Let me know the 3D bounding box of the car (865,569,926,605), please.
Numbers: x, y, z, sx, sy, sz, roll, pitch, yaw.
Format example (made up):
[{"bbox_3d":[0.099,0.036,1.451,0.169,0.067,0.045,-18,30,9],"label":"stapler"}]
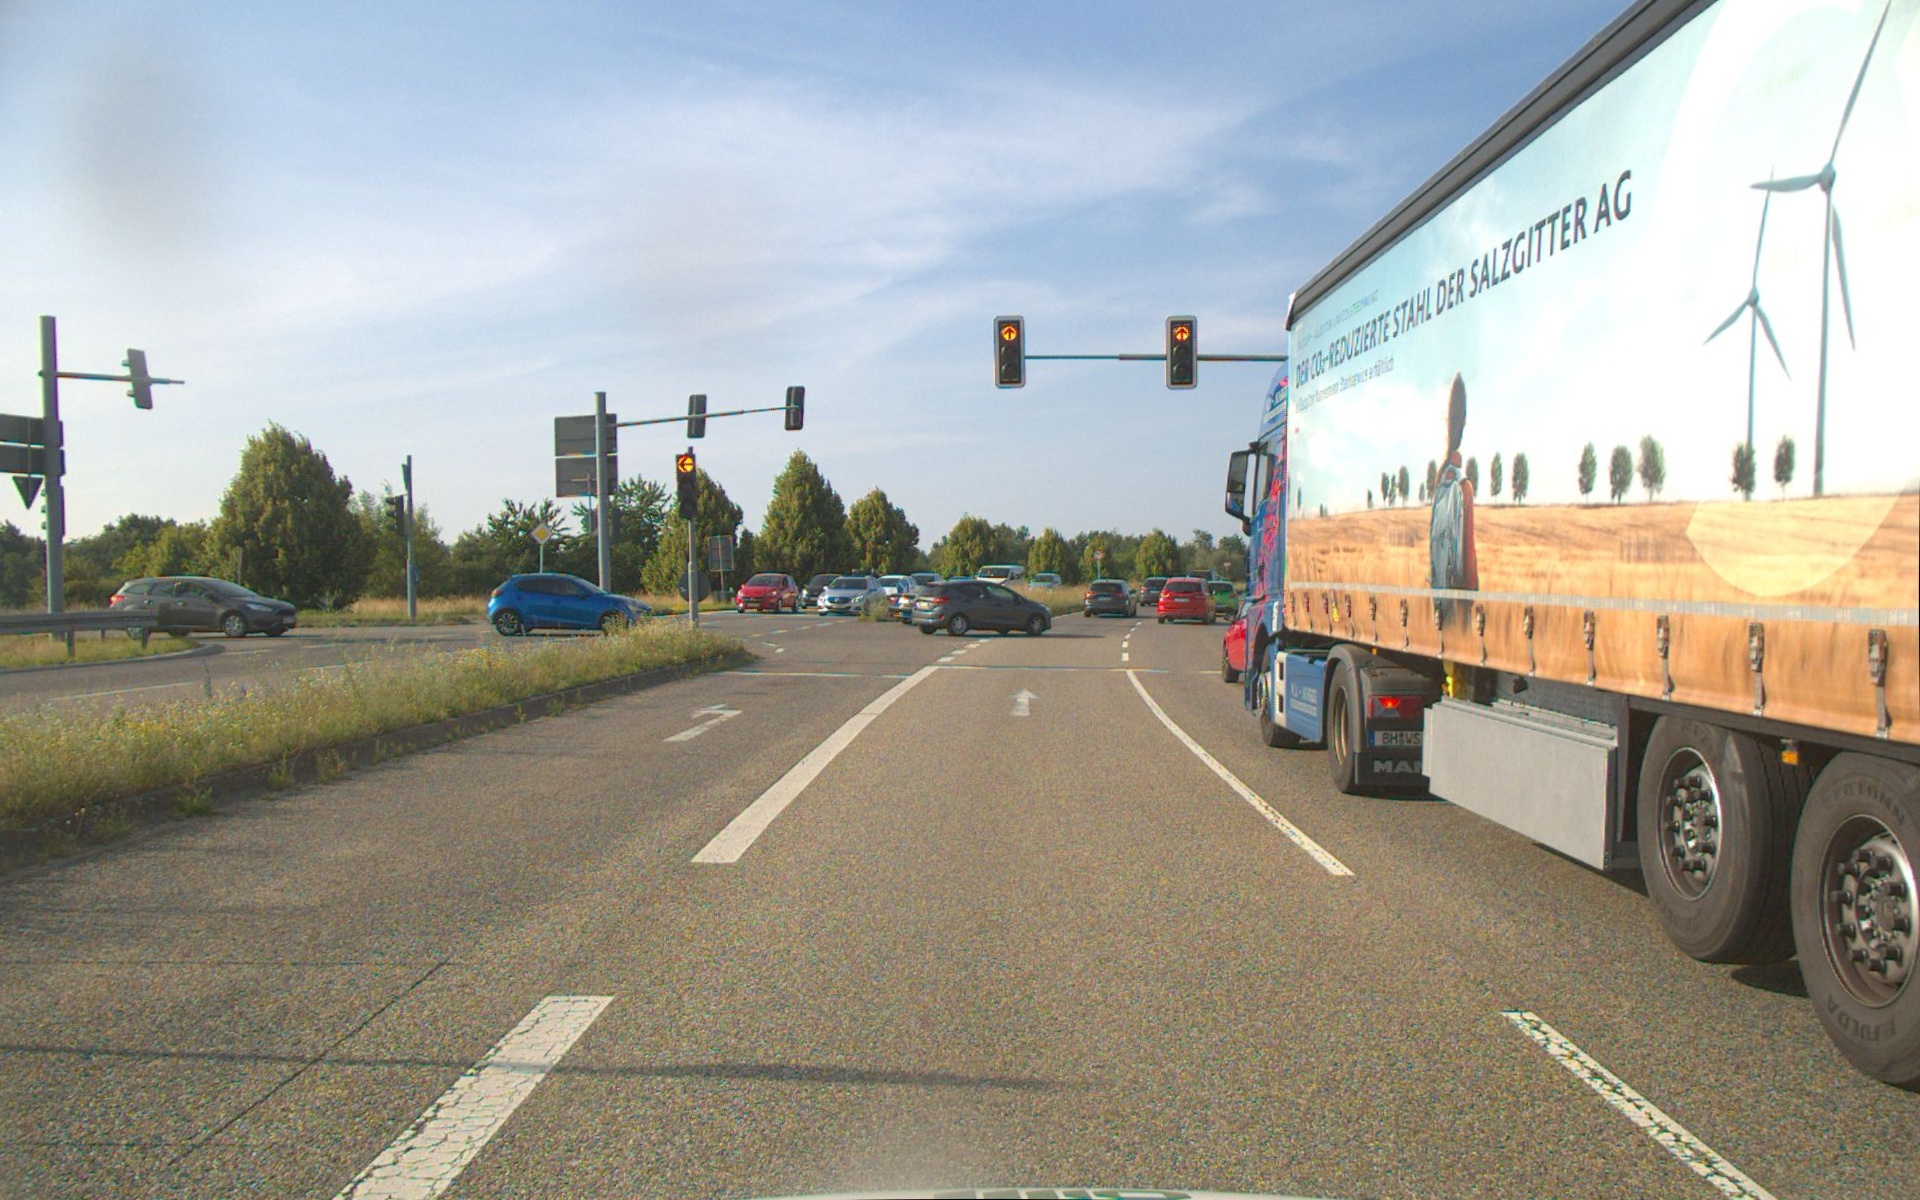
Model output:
[{"bbox_3d":[-2.699,-0.556,69.991,1.748,1.458,4.313,0,1,9],"label":"car"}]

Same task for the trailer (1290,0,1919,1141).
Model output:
[{"bbox_3d":[4.305,-0.900,7.261,3.214,4.763,13.149,0,0,1],"label":"trailer"}]

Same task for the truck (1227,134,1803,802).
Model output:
[{"bbox_3d":[4.423,-0.964,14.678,3.232,4.739,5.733,0,0,1],"label":"truck"}]

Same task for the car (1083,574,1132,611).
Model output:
[{"bbox_3d":[5.889,-0.274,65.532,1.797,1.401,4.281,0,-1,7],"label":"car"}]

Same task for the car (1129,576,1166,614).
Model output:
[{"bbox_3d":[9.870,-0.234,86.780,1.868,1.949,4.281,0,-1,7],"label":"car"}]

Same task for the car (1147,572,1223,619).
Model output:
[{"bbox_3d":[7.984,-0.145,58.427,1.856,1.592,4.279,0,-1,19],"label":"car"}]

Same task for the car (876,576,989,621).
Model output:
[{"bbox_3d":[-0.804,-0.018,51.926,1.871,1.346,4.274,0,-1,25],"label":"car"}]

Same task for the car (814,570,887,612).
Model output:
[{"bbox_3d":[-4.047,-0.356,61.838,1.748,1.514,4.655,0,1,9],"label":"car"}]

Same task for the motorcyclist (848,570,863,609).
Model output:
[{"bbox_3d":[-4.843,-0.489,76.706,0.648,1.778,0.605,0,0,2],"label":"motorcyclist"}]

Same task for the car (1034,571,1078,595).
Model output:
[{"bbox_3d":[6.010,-1.056,103.012,1.748,1.410,4.053,0,1,18],"label":"car"}]

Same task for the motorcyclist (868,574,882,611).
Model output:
[{"bbox_3d":[-4.211,-0.371,82.079,0.648,1.848,0.605,0,0,2],"label":"motorcyclist"}]

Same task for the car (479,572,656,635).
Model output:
[{"bbox_3d":[-9.572,0.068,40.535,3.891,1.518,1.778,0,1,-1],"label":"car"}]

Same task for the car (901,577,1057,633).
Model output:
[{"bbox_3d":[0.518,0.146,44.207,3.738,1.440,1.904,1,-1,-27],"label":"car"}]

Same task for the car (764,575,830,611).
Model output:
[{"bbox_3d":[-6.775,-0.310,69.211,1.748,1.458,4.055,0,1,9],"label":"car"}]

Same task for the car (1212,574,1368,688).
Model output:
[{"bbox_3d":[4.861,0.410,24.839,1.661,1.576,3.751,0,1,1],"label":"car"}]

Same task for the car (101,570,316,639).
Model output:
[{"bbox_3d":[-18.238,0.097,40.230,4.421,1.593,1.817,0,0,5],"label":"car"}]

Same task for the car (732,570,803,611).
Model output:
[{"bbox_3d":[-7.431,-0.380,64.109,1.684,1.514,3.808,0,1,10],"label":"car"}]

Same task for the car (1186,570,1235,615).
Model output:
[{"bbox_3d":[10.556,-0.293,69.858,1.868,1.831,4.281,0,-1,6],"label":"car"}]

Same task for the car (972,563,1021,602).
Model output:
[{"bbox_3d":[2.034,-0.966,91.161,1.884,2.114,4.247,0,1,12],"label":"car"}]
